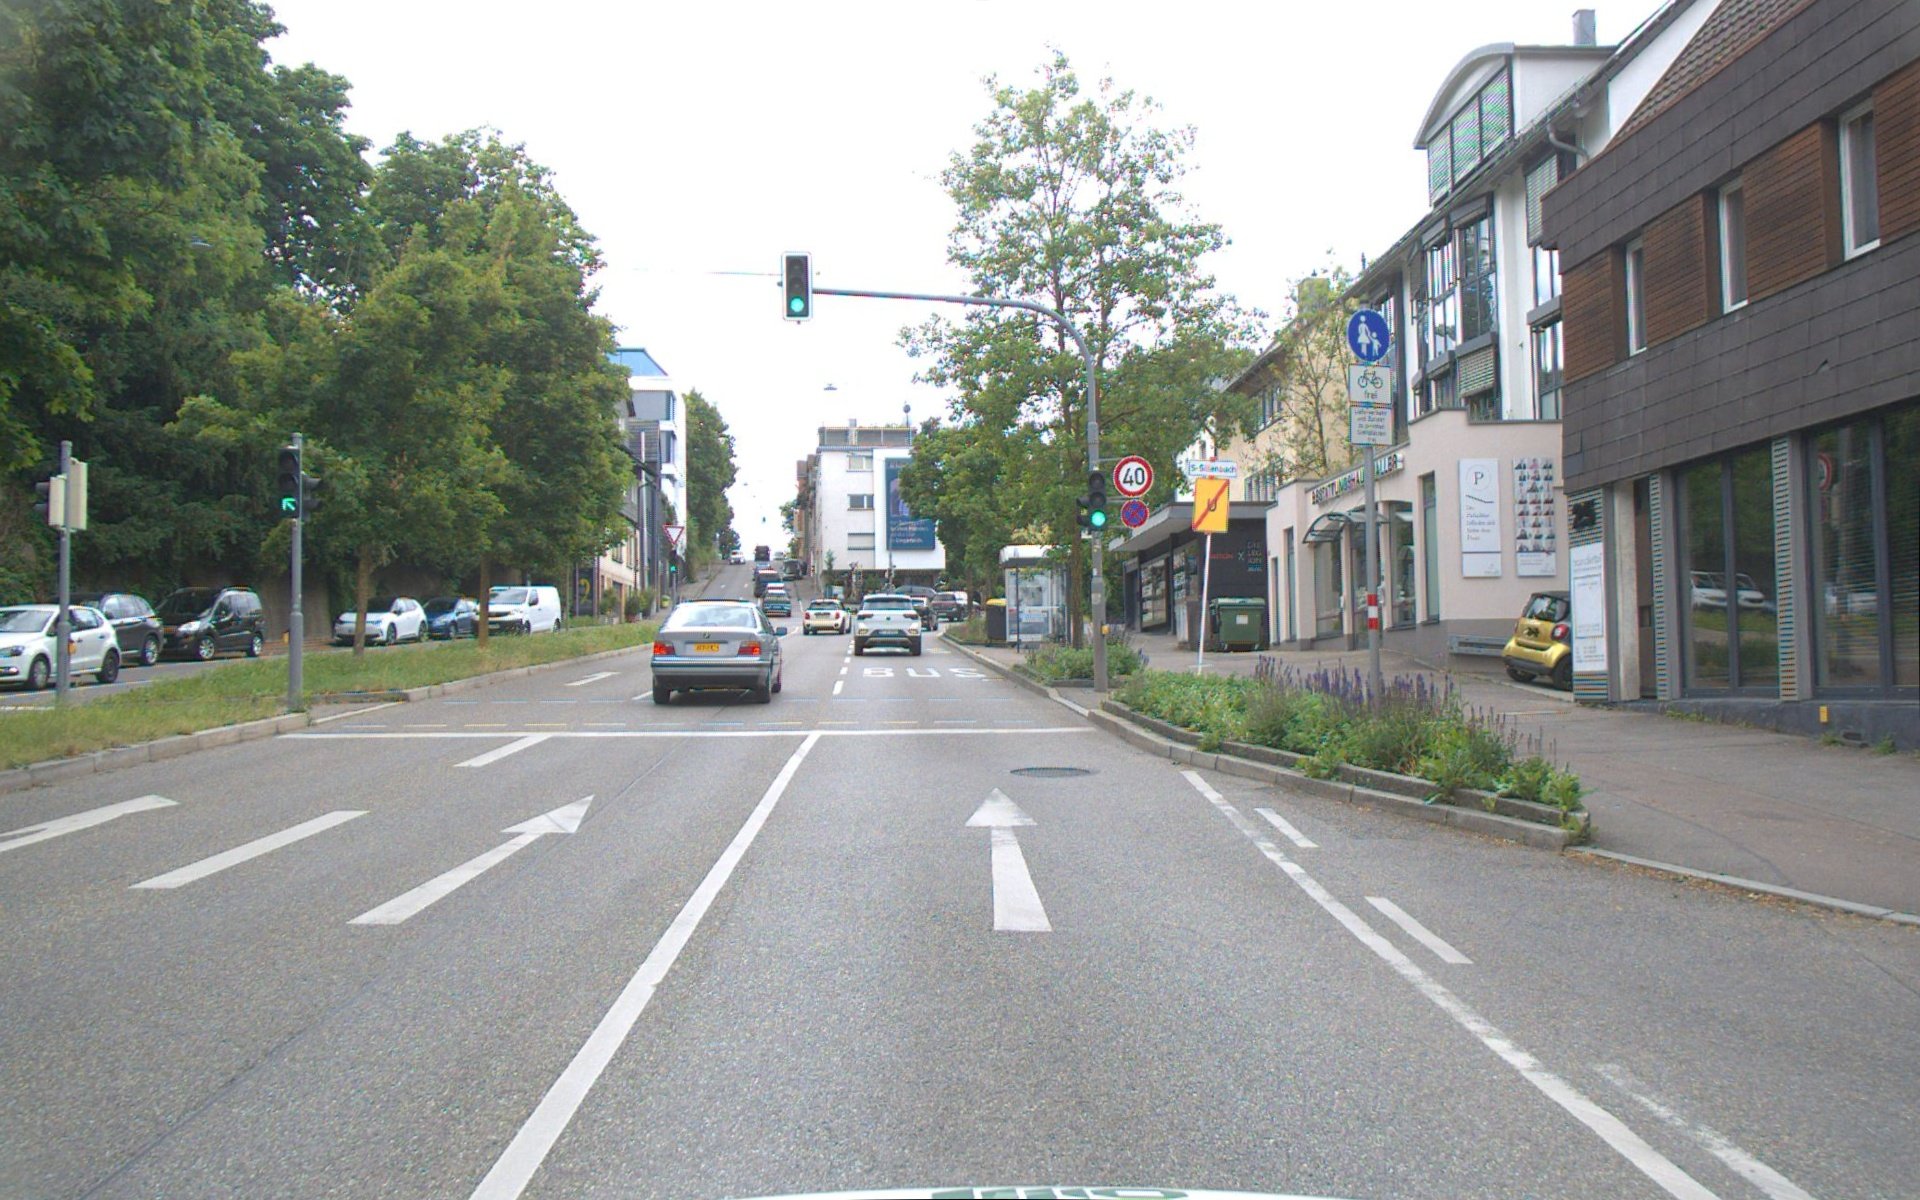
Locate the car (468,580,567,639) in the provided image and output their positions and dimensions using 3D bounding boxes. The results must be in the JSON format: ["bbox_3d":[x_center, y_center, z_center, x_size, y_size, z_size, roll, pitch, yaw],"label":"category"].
[{"bbox_3d":[-15.599,0.299,58.600,1.898,1.992,5.024,0,0,4],"label":"car"}]

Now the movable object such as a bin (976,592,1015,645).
[{"bbox_3d":[1.024,0.527,48.268,1.063,1.507,1.536,0,0,-2],"label":"movable object such as a bin"}]

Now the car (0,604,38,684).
[{"bbox_3d":[-19.562,0.865,32.103,1.744,1.524,3.095,0,1,-4],"label":"car"}]

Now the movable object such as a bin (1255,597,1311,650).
[{"bbox_3d":[8.867,0.641,45.415,1.313,1.434,1.127,0,0,-1],"label":"movable object such as a bin"}]

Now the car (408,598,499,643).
[{"bbox_3d":[-18.559,0.713,60.773,1.676,1.555,4.304,0,1,5],"label":"car"}]

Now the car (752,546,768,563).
[{"bbox_3d":[-24.338,-5.502,201.434,1.955,2.049,3.994,0,1,-7],"label":"car"}]

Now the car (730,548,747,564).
[{"bbox_3d":[-25.417,-5.066,189.585,1.847,1.594,4.384,-1,3,-7],"label":"car"}]

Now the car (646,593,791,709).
[{"bbox_3d":[-3.367,0.657,23.708,1.672,1.489,3.998,0,1,-3],"label":"car"}]

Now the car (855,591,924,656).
[{"bbox_3d":[-1.904,0.583,43.971,1.744,1.606,3.997,0,1,-4],"label":"car"}]

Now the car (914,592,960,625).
[{"bbox_3d":[-1.024,0.345,74.823,1.756,1.434,4.002,0,1,4],"label":"car"}]

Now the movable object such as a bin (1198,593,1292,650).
[{"bbox_3d":[7.814,0.567,45.692,1.850,1.477,3.999,0,0,-1],"label":"movable object such as a bin"}]

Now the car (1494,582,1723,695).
[{"bbox_3d":[10.462,0.608,26.783,2.936,1.489,1.663,5,1,-9],"label":"car"}]

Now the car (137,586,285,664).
[{"bbox_3d":[-19.201,0.585,42.623,1.743,1.875,4.488,0,1,0],"label":"car"}]

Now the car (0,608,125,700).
[{"bbox_3d":[-16.504,0.907,29.211,1.694,1.453,3.789,0,1,-2],"label":"car"}]

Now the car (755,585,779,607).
[{"bbox_3d":[-14.373,-0.309,123.354,1.746,1.606,3.995,0,1,-6],"label":"car"}]

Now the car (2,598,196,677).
[{"bbox_3d":[-19.394,0.802,37.514,1.929,1.685,4.533,0,0,1],"label":"car"}]

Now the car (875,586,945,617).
[{"bbox_3d":[-3.503,0.111,115.580,4.599,1.741,2.316,4,3,-7],"label":"car"}]

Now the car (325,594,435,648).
[{"bbox_3d":[-19.092,0.667,54.622,1.742,1.657,4.174,0,1,7],"label":"car"}]

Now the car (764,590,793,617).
[{"bbox_3d":[-11.126,0.187,101.492,1.746,1.606,3.995,0,1,-6],"label":"car"}]

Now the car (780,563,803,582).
[{"bbox_3d":[-15.230,-2.481,149.735,2.049,1.641,3.995,0,0,-5],"label":"car"}]

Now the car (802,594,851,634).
[{"bbox_3d":[-5.564,0.568,69.275,1.743,1.606,4.000,0,0,-1],"label":"car"}]
